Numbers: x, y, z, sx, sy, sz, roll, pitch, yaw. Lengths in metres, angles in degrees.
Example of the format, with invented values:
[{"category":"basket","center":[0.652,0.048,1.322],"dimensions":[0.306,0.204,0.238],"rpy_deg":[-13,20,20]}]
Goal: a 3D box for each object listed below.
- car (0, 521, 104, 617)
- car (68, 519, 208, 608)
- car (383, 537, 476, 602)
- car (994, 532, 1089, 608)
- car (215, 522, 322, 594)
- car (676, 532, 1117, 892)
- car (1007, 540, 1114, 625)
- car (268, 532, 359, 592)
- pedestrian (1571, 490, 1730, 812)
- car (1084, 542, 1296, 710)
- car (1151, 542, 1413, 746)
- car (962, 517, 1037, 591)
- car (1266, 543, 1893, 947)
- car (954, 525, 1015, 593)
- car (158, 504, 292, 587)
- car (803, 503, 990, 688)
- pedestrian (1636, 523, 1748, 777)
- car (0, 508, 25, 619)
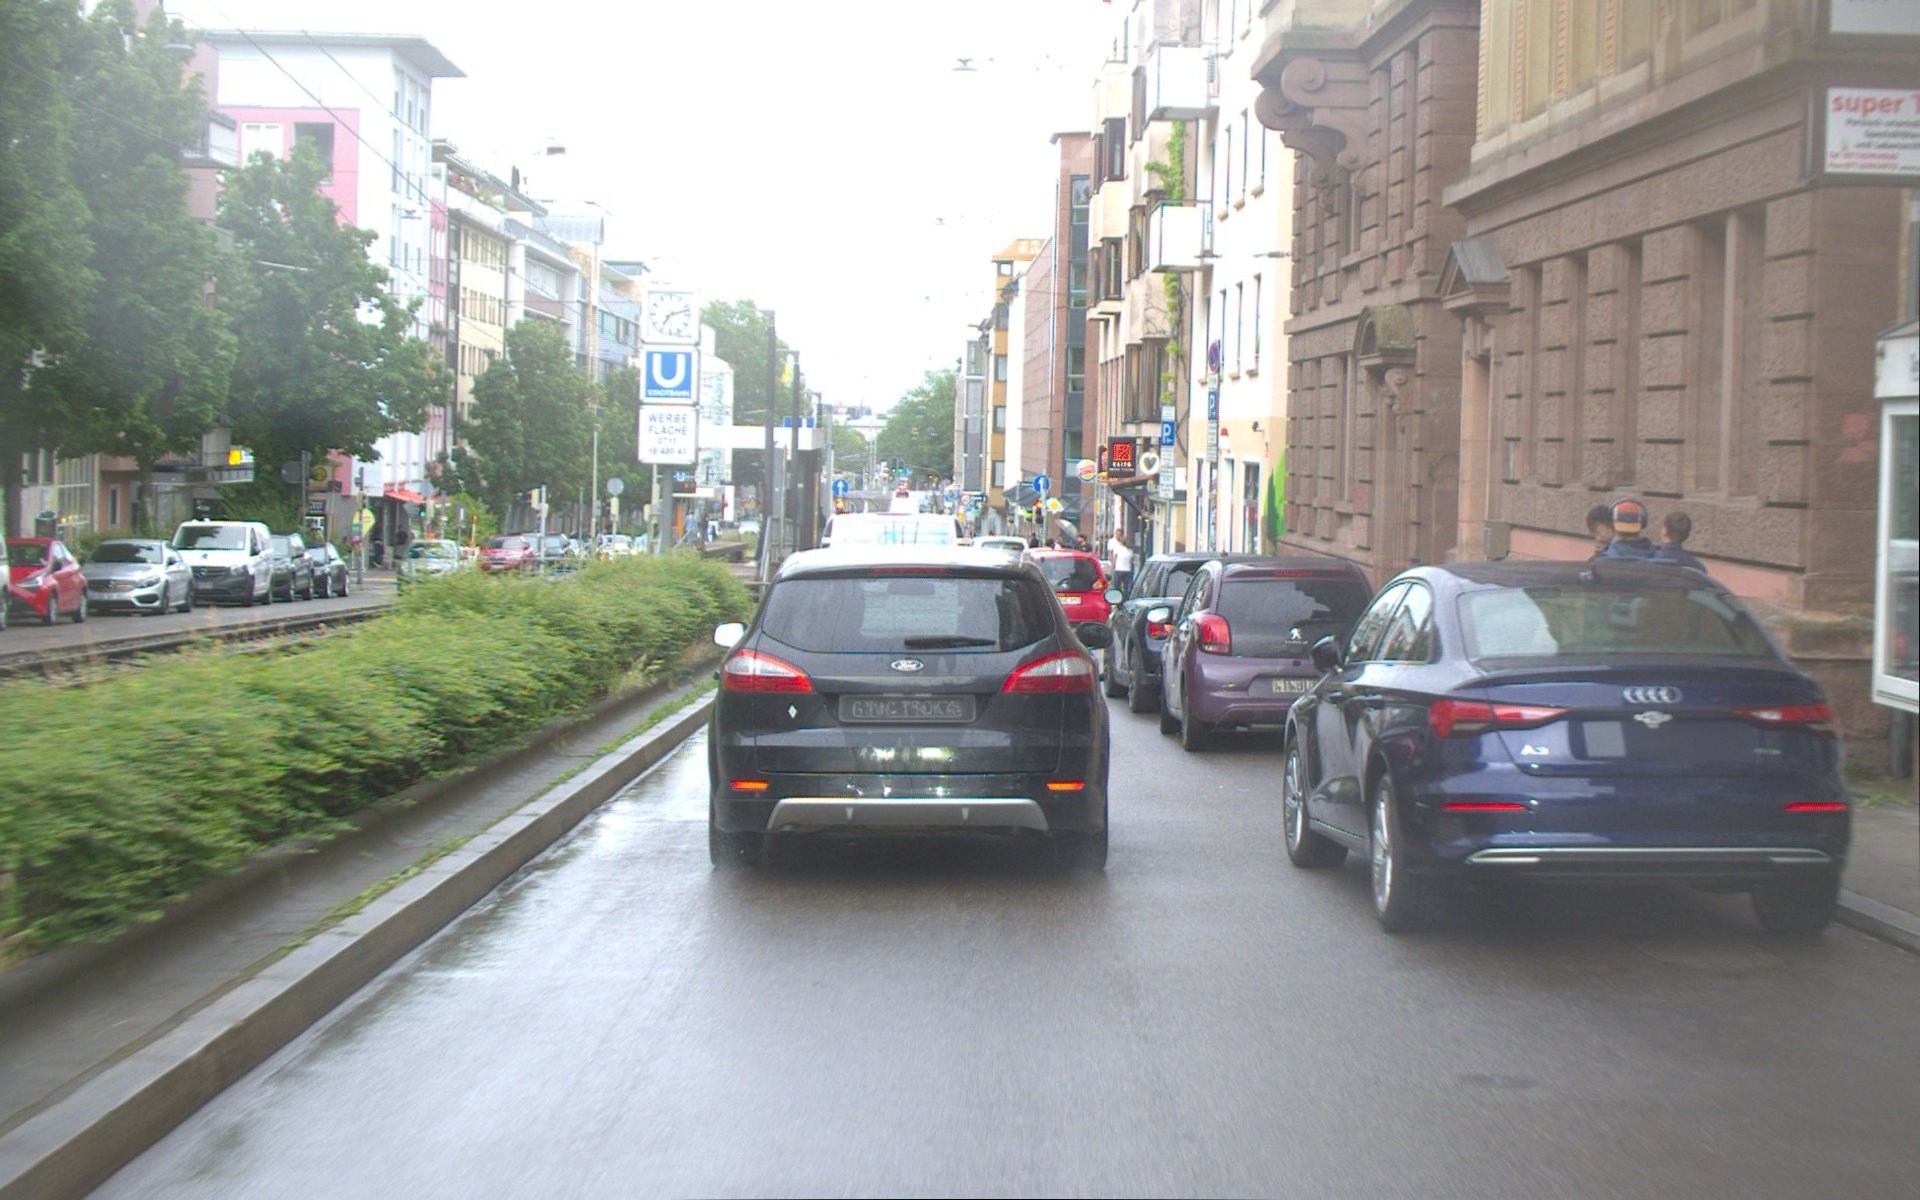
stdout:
[{"category":"car","center":[-15.828,-0.513,57.794],"dimensions":[1.855,1.522,4.046],"rpy_deg":[2,0,-1]},{"category":"car","center":[-15.505,-0.666,65.013],"dimensions":[1.668,1.553,4.046],"rpy_deg":[2,0,-1]},{"category":"car","center":[-14.322,-0.801,92.974],"dimensions":[1.855,1.631,4.046],"rpy_deg":[2,0,-1]},{"category":"car","center":[1.560,-0.587,66.668],"dimensions":[1.670,1.416,3.476],"rpy_deg":[1,1,-1]},{"category":"car","center":[-16.263,-0.969,81.028],"dimensions":[1.695,1.568,4.046],"rpy_deg":[2,0,-1]},{"category":"car","center":[-0.365,0.458,16.474],"dimensions":[1.842,1.502,4.000],"rpy_deg":[1,0,-3]},{"category":"car","center":[1.720,-0.310,59.914],"dimensions":[1.670,1.416,3.476],"rpy_deg":[1,1,-1]},{"category":"car","center":[-16.372,-0.945,87.244],"dimensions":[1.550,1.390,4.046],"rpy_deg":[2,0,-1]},{"category":"pedestrian","center":[4.019,0.275,20.064],"dimensions":[0.703,1.813,0.961],"rpy_deg":[-1,2,-1]},{"category":"car","center":[2.099,0.205,32.191],"dimensions":[1.577,1.454,3.821],"rpy_deg":[1,1,-2]},{"category":"car","center":[2.434,0.297,26.699],"dimensions":[1.649,1.454,3.476],"rpy_deg":[1,1,-1]},{"category":"car","center":[1.035,-1.220,92.480],"dimensions":[1.839,1.775,3.779],"rpy_deg":[4,-1,0]},{"category":"car","center":[2.415,0.527,14.477],"dimensions":[1.791,1.402,4.257],"rpy_deg":[2,0,-1]},{"category":"car","center":[0.693,-1.155,98.547],"dimensions":[1.591,1.775,3.779],"rpy_deg":[4,-1,0]},{"category":"car","center":[-15.863,-1.148,74.432],"dimensions":[1.855,1.631,4.935],"rpy_deg":[2,0,-1]},{"category":"car","center":[-0.709,-0.105,41.445],"dimensions":[1.988,2.053,4.645],"rpy_deg":[1,1,2]},{"category":"pedestrian","center":[4.638,0.315,21.820],"dimensions":[0.519,1.574,0.677],"rpy_deg":[-1,-1,-1]},{"category":"car","center":[-15.608,-0.591,51.743],"dimensions":[1.855,1.695,4.431],"rpy_deg":[2,0,-1]}]
